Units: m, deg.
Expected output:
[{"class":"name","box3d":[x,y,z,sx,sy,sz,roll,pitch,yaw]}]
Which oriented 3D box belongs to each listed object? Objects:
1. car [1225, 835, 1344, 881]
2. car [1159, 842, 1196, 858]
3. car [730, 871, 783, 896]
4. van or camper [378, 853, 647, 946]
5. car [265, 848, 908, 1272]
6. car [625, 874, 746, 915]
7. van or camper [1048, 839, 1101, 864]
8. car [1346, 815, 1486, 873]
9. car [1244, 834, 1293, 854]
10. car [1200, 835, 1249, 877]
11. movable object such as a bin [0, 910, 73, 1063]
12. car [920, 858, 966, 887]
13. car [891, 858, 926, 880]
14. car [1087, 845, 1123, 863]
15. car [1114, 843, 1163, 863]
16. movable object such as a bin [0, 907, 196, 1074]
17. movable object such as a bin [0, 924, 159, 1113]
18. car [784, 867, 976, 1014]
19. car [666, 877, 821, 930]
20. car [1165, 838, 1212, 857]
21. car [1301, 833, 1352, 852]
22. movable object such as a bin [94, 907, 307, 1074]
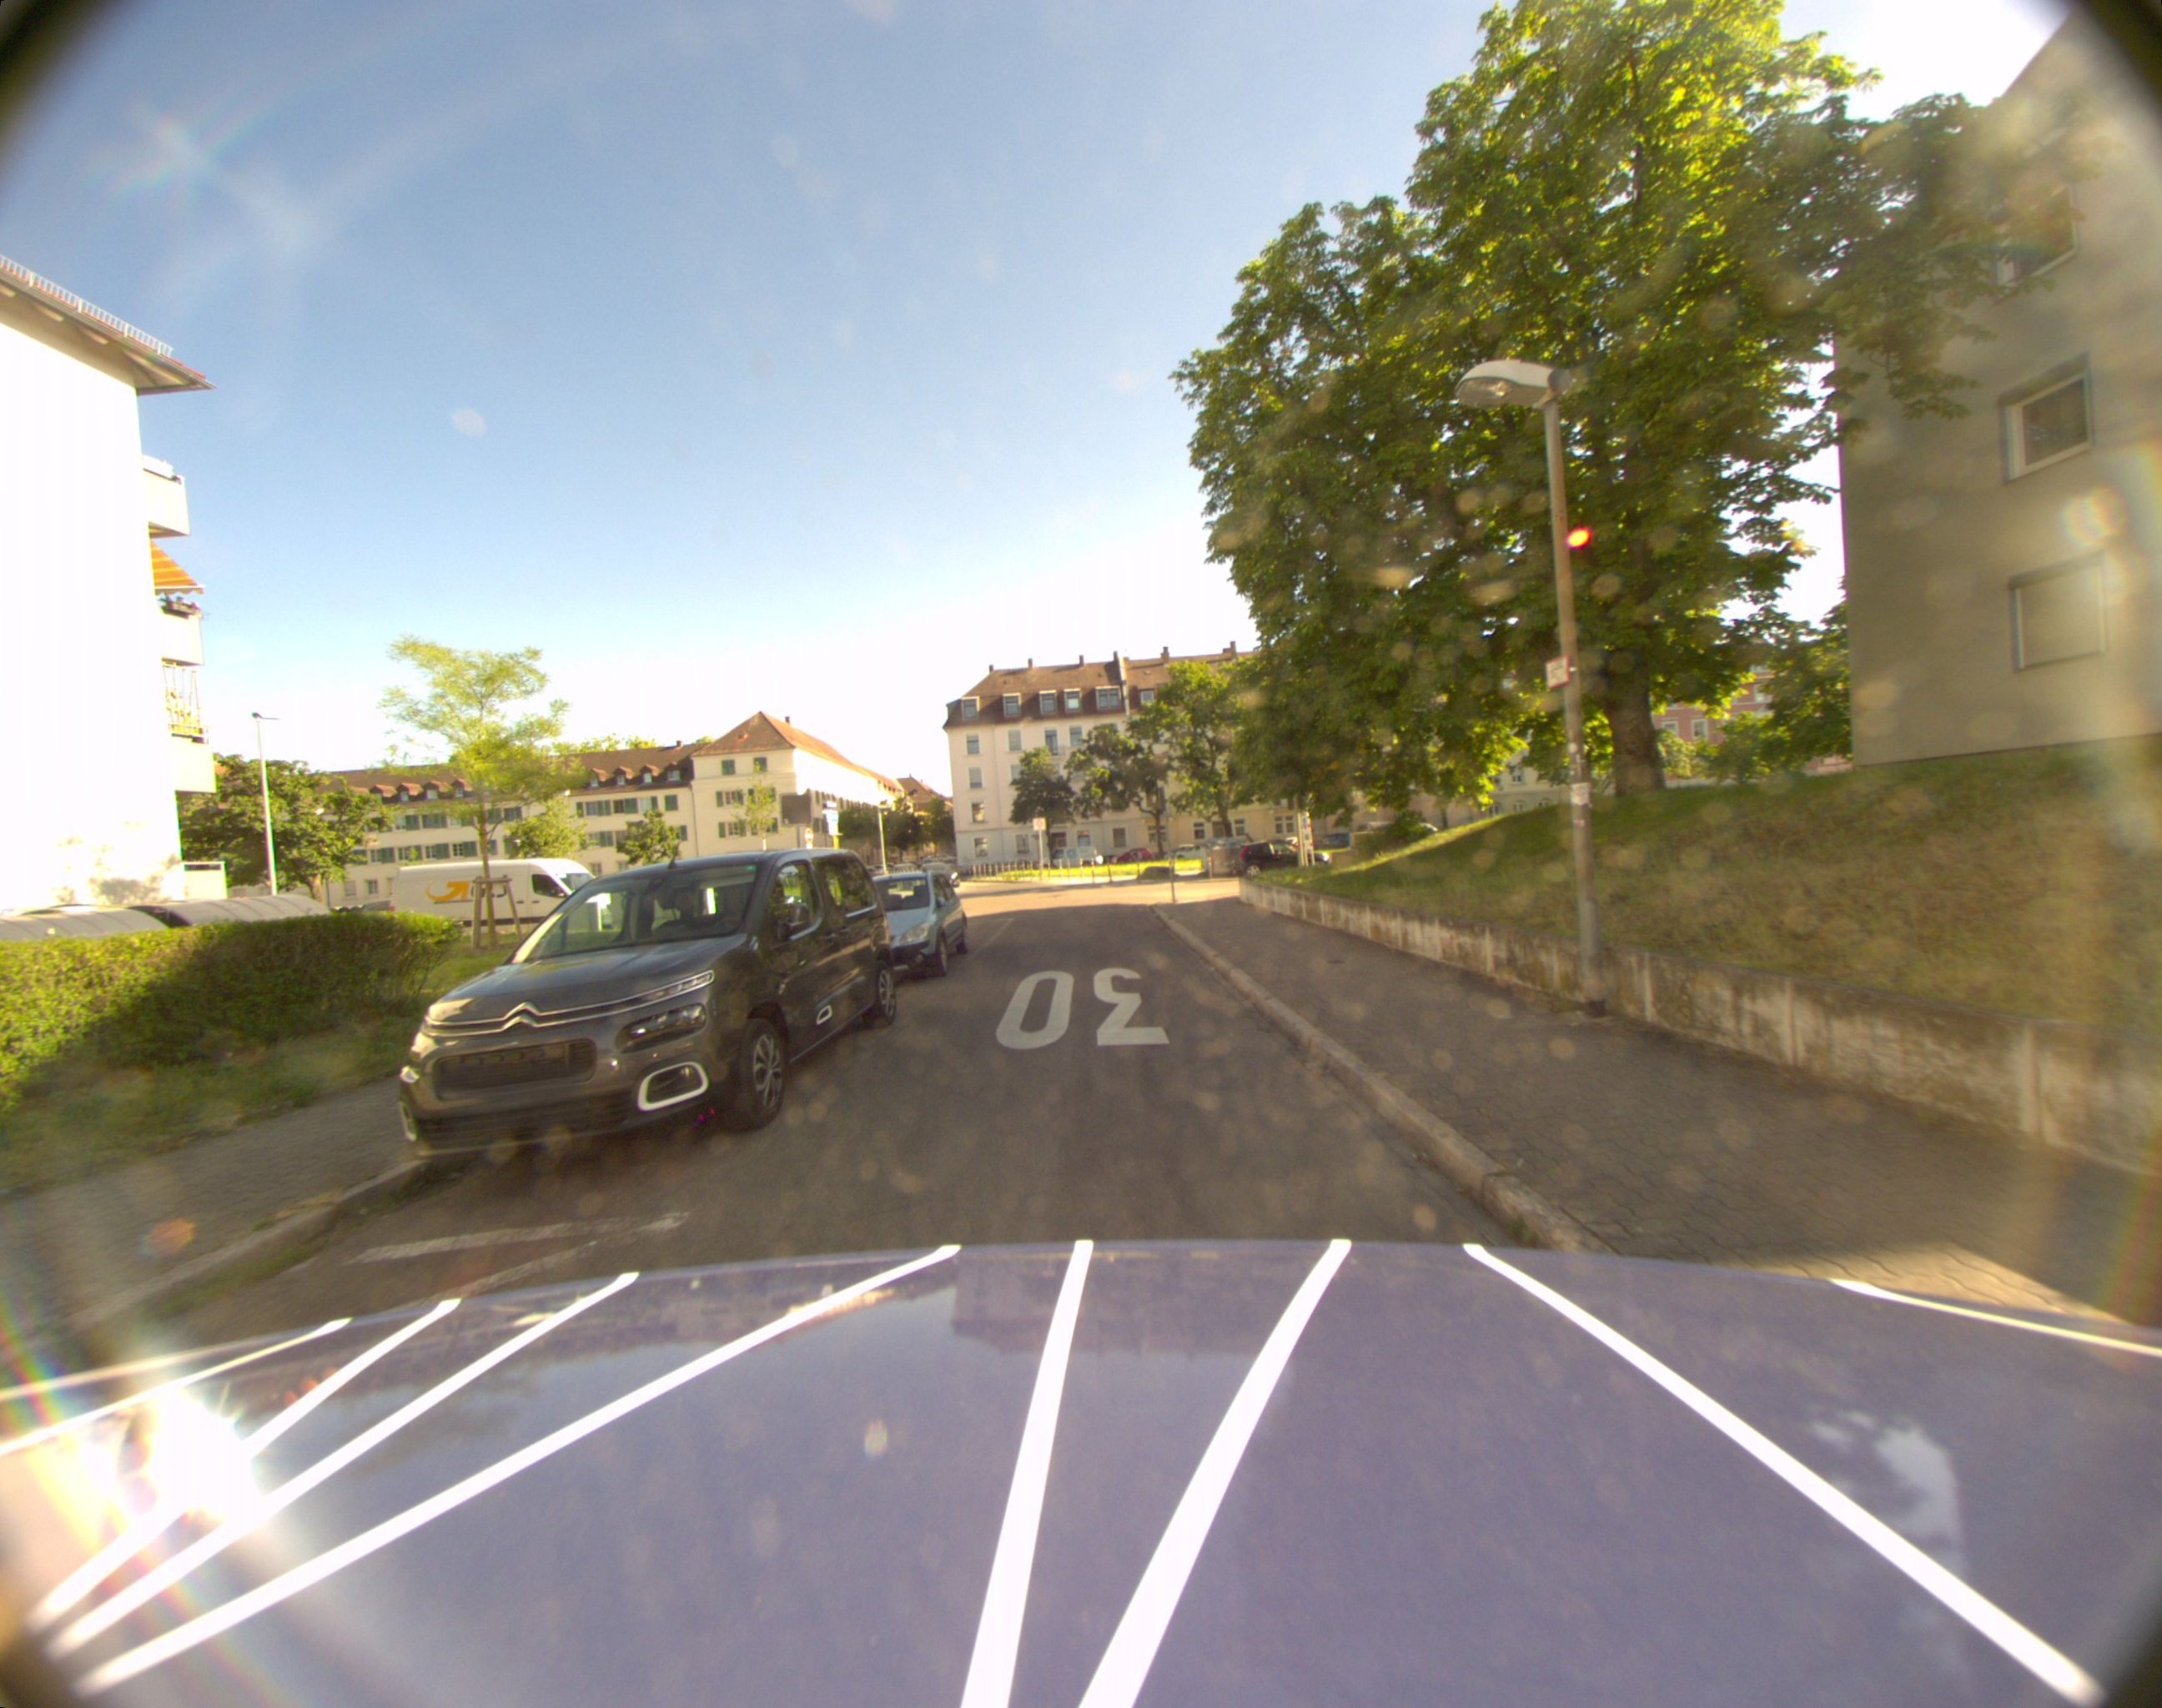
[{"class":"car","box3d":[7.917,0.144,29.747,4.140,1.488,1.729,-3,1,1]},{"class":"car","box3d":[8.920,-0.369,70.699,3.192,1.311,1.545,-3,1,0]},{"class":"car","box3d":[-30.313,2.733,71.023,3.997,2.002,1.999,-3,1,-1]},{"class":"van or camper","box3d":[-18.139,1.411,24.475,6.980,2.486,2.177,-3,1,2]},{"class":"car","box3d":[-2.826,0.968,5.740,1.855,1.790,4.253,-7,1,0]},{"class":"car","box3d":[-15.833,1.603,30.542,3.996,1.342,1.521,-3,1,2]},{"class":"van or camper","box3d":[-0.581,-0.216,65.487,4.355,1.852,1.999,-3,1,-1]},{"class":"car","box3d":[11.785,-0.363,26.915,4.140,1.730,1.729,-4,2,0]},{"class":"car","box3d":[16.052,-0.848,65.057,3.787,1.437,1.624,-3,1,2]},{"class":"car","box3d":[6.178,0.054,32.923,1.678,1.645,3.305,-3,1,5]},{"class":"movable object such as a bin","box3d":[-10.917,1.329,7.391,0.866,1.439,0.922,-3,1,-3]},{"class":"car","box3d":[-7.731,1.008,42.210,1.674,1.433,3.794,-4,1,-22]},{"class":"car","box3d":[-12.217,1.059,53.673,1.674,1.369,3.794,-4,1,-22]},{"class":"car","box3d":[2.222,0.023,70.738,3.192,1.499,1.545,-3,1,0]},{"class":"car","box3d":[4.905,-0.124,65.118,3.996,1.477,1.722,-3,1,2]},{"class":"movable object such as a bin","box3d":[-9.804,1.305,7.531,0.866,1.439,0.922,-3,1,-3]},{"class":"movable object such as a bin","box3d":[-8.433,1.291,6.091,0.921,1.318,0.866,-4,1,-1]},{"class":"car","box3d":[-2.747,1.106,11.364,1.728,1.528,3.951,-7,1,-1]},{"class":"car","box3d":[-10.578,1.530,24.000,3.996,1.342,1.802,-3,1,2]},{"class":"car","box3d":[9.191,-0.542,65.038,3.787,1.437,1.624,-3,1,2]},{"class":"car","box3d":[20.879,-0.983,64.772,3.787,1.343,1.624,-3,1,2]},{"class":"movable object such as a bin","box3d":[-8.416,1.266,7.317,0.921,1.390,0.866,-4,1,-1]}]
